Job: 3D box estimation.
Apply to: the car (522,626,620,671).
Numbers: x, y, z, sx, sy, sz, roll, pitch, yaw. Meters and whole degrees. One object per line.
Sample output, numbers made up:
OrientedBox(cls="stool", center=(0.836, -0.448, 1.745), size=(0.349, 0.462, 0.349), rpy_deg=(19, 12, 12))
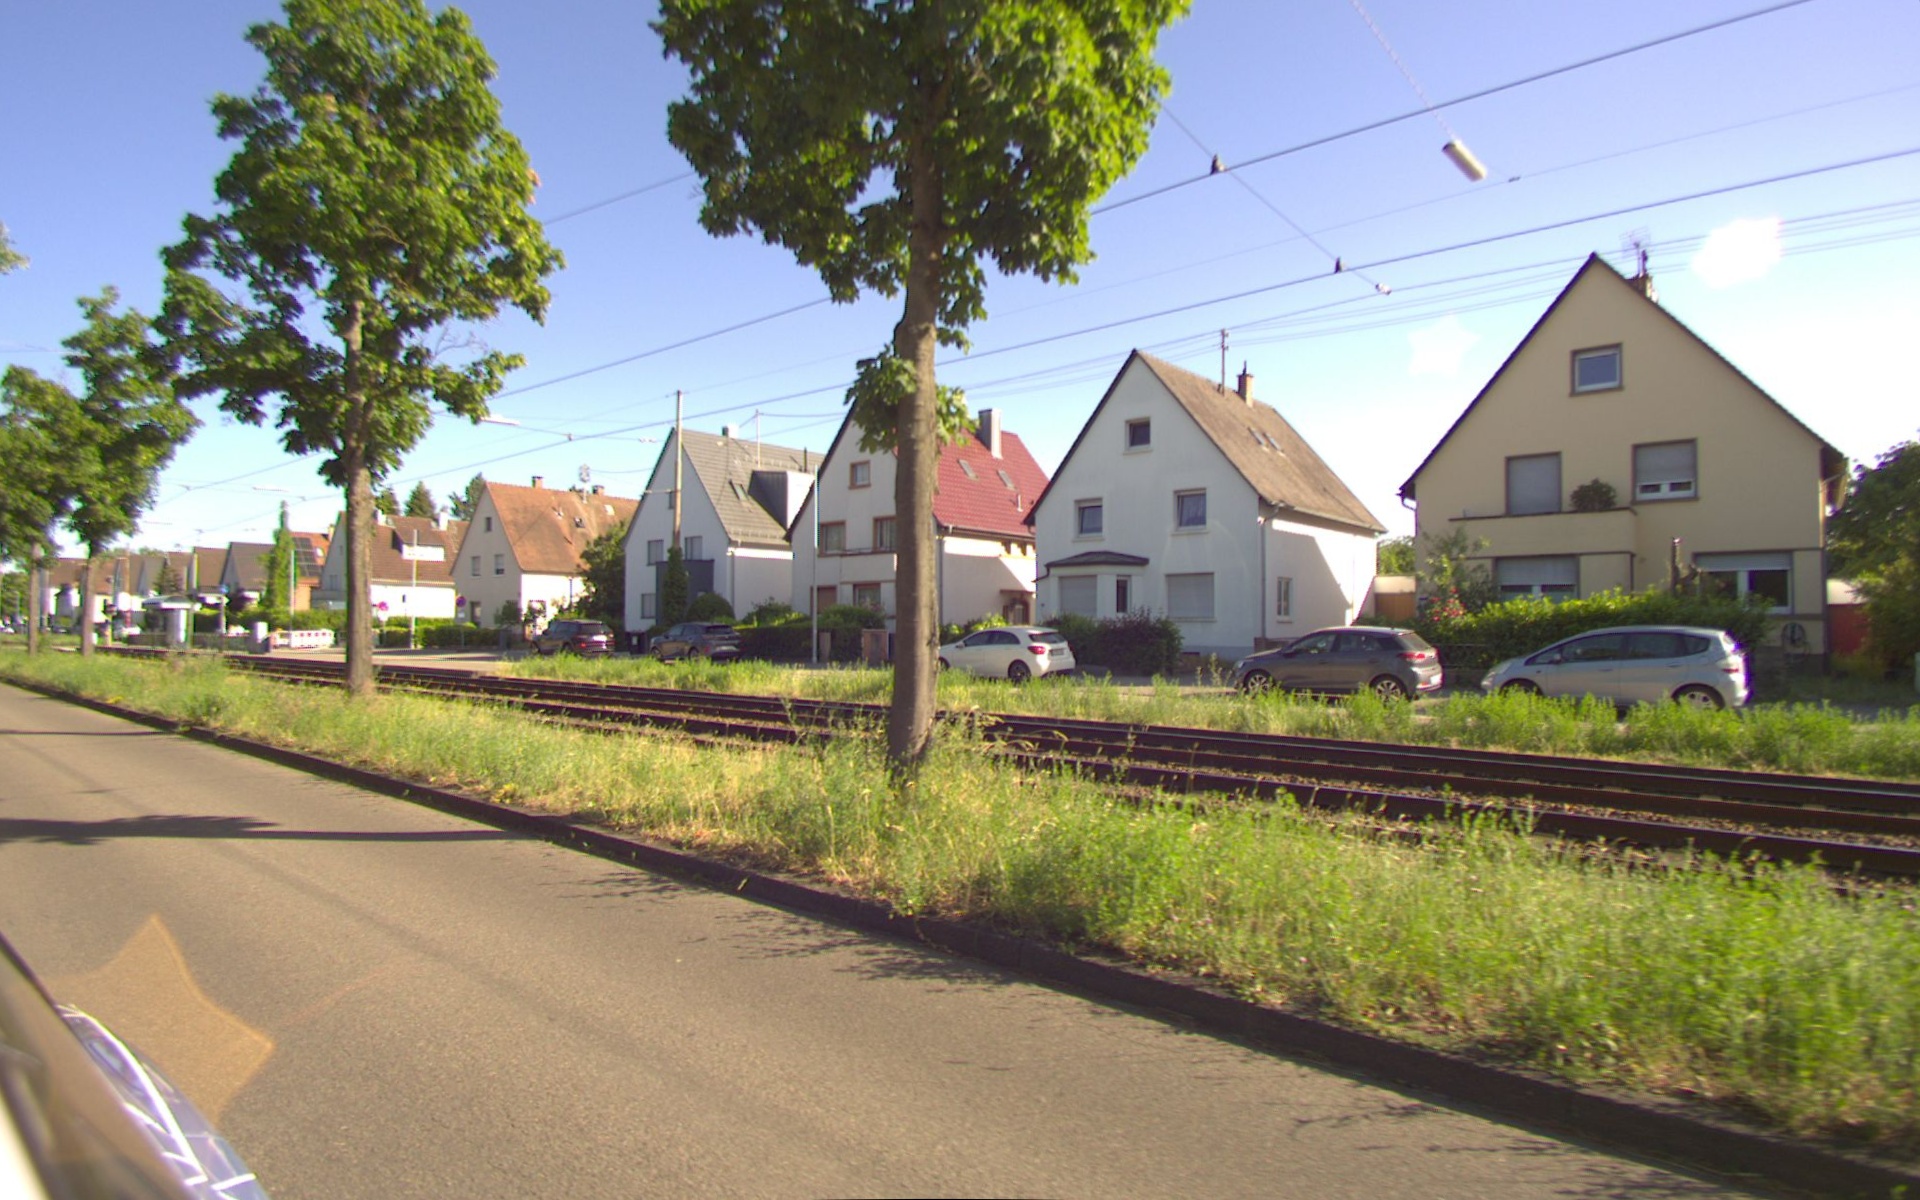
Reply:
OrientedBox(cls="car", center=(-16.020, 1.949, 41.575), size=(4.388, 1.726, 1.973), rpy_deg=(-2, -1, 41))

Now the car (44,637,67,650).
OrientedBox(cls="car", center=(-112.756, 5.399, 126.193), size=(3.754, 1.501, 1.716), rpy_deg=(-2, -1, 41))

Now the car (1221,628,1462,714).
OrientedBox(cls="car", center=(7.638, 1.346, 20.452), size=(4.125, 1.460, 1.973), rpy_deg=(-2, 1, 41))

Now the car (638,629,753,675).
OrientedBox(cls="car", center=(-9.419, 1.797, 35.878), size=(4.254, 1.506, 1.906), rpy_deg=(-2, -1, 41))

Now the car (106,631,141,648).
OrientedBox(cls="car", center=(-83.173, 3.899, 100.627), size=(4.837, 1.691, 1.973), rpy_deg=(-2, -1, 41))

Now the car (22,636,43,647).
OrientedBox(cls="car", center=(-125.545, 5.577, 136.960), size=(3.822, 1.392, 1.733), rpy_deg=(-2, -1, 41))

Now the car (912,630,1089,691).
OrientedBox(cls="car", center=(0.999, 1.511, 26.451), size=(4.410, 1.437, 1.972), rpy_deg=(-2, -1, 43))

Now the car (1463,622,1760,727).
OrientedBox(cls="car", center=(11.112, 1.187, 17.397), size=(4.054, 1.565, 1.926), rpy_deg=(-2, -1, 41))

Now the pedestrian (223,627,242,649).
OrientedBox(cls="pedestrian", center=(-51.766, 2.680, 72.008), size=(0.791, 1.546, 0.805), rpy_deg=(-3, -4, 30))
